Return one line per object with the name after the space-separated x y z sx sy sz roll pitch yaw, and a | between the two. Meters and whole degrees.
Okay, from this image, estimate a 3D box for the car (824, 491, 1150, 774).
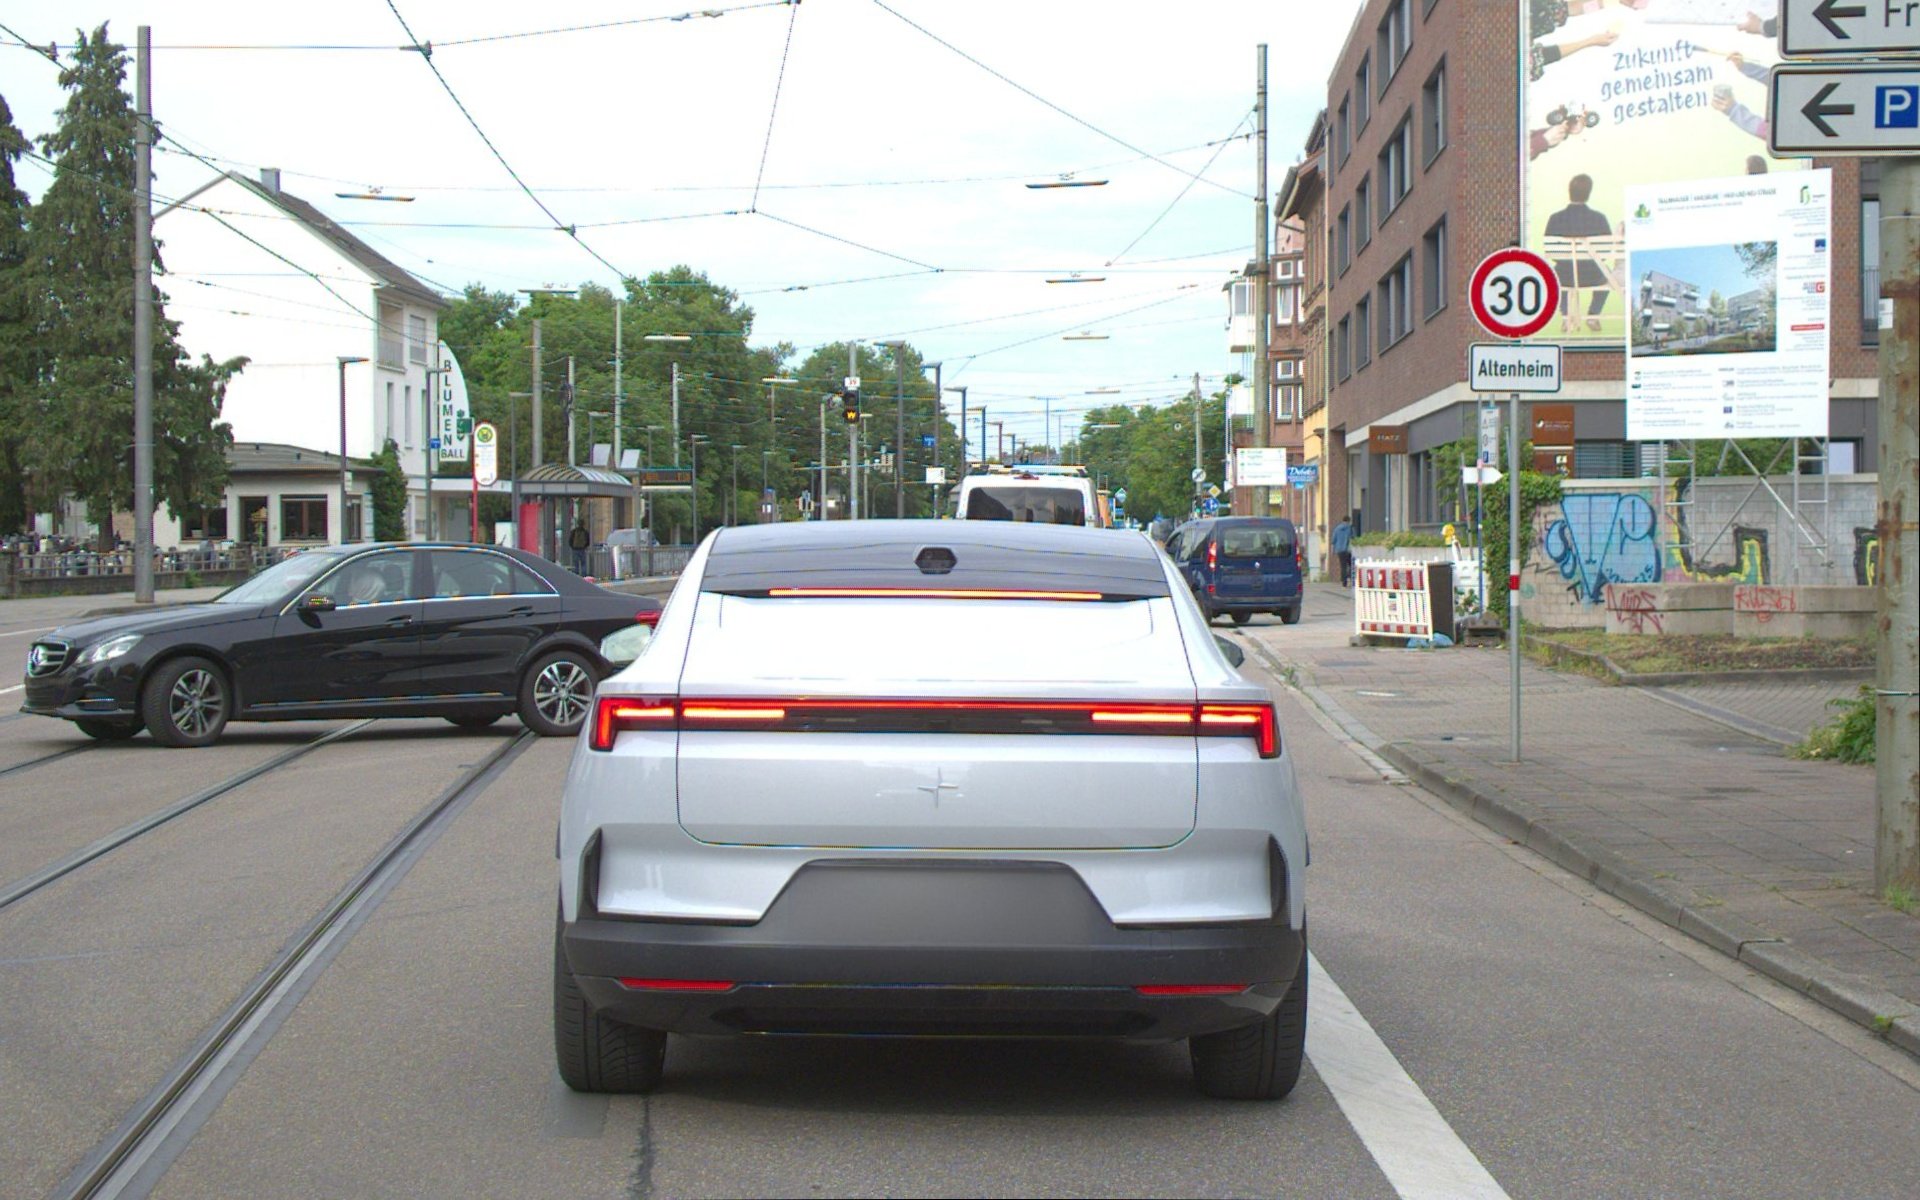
0.096 0.187 23.683 1.968 1.750 3.838 1 1 -3 | car

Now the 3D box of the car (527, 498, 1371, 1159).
-0.184 0.509 10.262 1.981 1.544 4.184 1 1 -5 | car

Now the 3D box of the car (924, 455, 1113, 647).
0.725 -0.652 46.529 2.216 2.415 4.952 1 0 -2 | car

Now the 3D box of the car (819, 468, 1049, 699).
-0.313 -0.164 32.511 1.993 2.007 4.000 1 0 -2 | car

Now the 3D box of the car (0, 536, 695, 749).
-4.588 0.255 25.351 4.869 1.422 1.953 -1 1 -26 | car

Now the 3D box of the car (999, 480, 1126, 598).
1.924 -1.146 66.061 2.139 2.138 4.744 1 1 -1 | car

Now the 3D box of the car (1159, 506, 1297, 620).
4.489 -0.619 58.105 1.874 1.817 4.097 1 1 -2 | car

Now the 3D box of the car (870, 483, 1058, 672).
0.002 -0.262 39.213 1.993 2.007 4.000 1 0 -1 | car
